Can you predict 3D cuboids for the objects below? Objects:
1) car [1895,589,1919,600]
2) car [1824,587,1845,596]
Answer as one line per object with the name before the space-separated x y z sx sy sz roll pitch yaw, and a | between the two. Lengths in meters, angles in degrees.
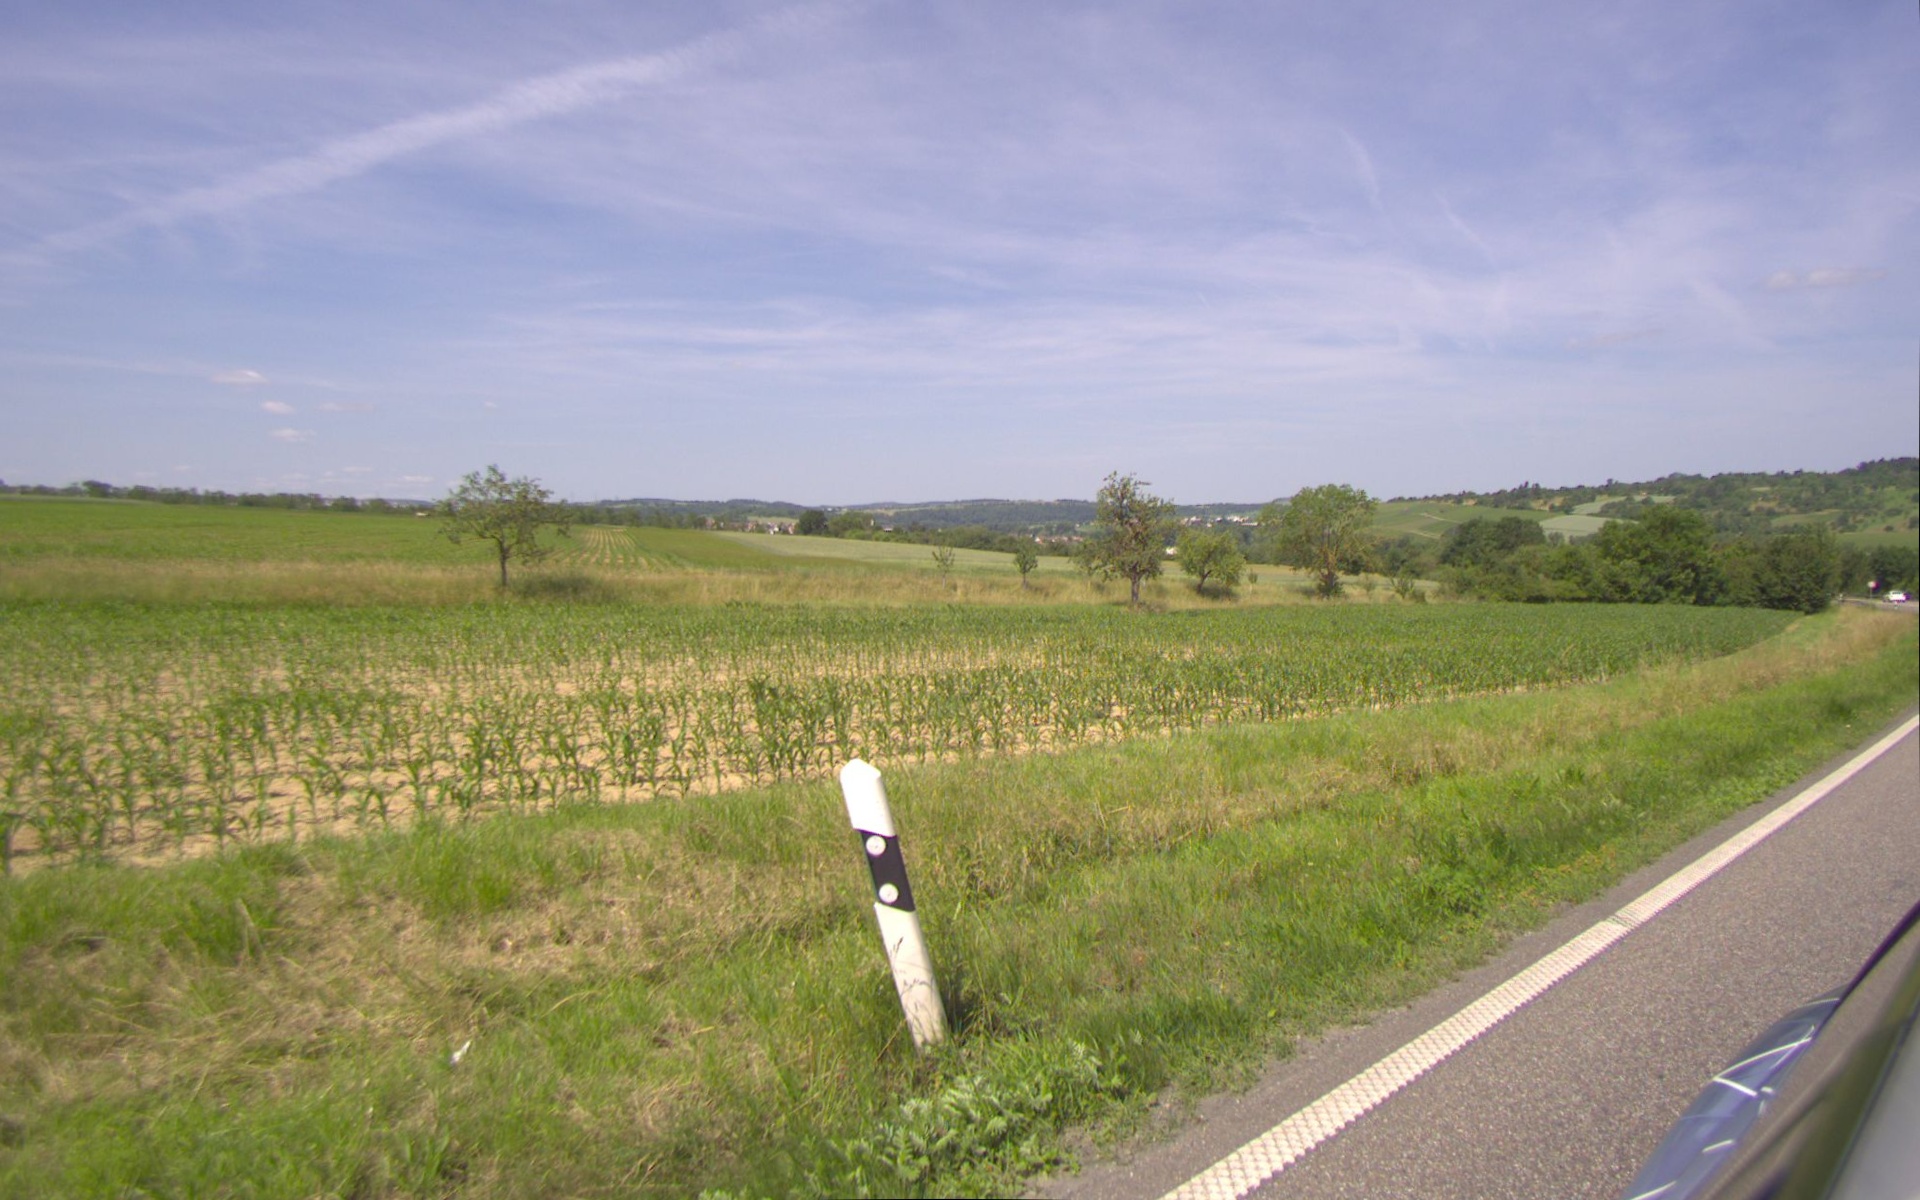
car | 129.269 -0.771 137.964 1.648 1.475 3.697 1 1 28
car | 142.176 -1.391 164.514 1.708 1.480 4.172 -1 0 29
